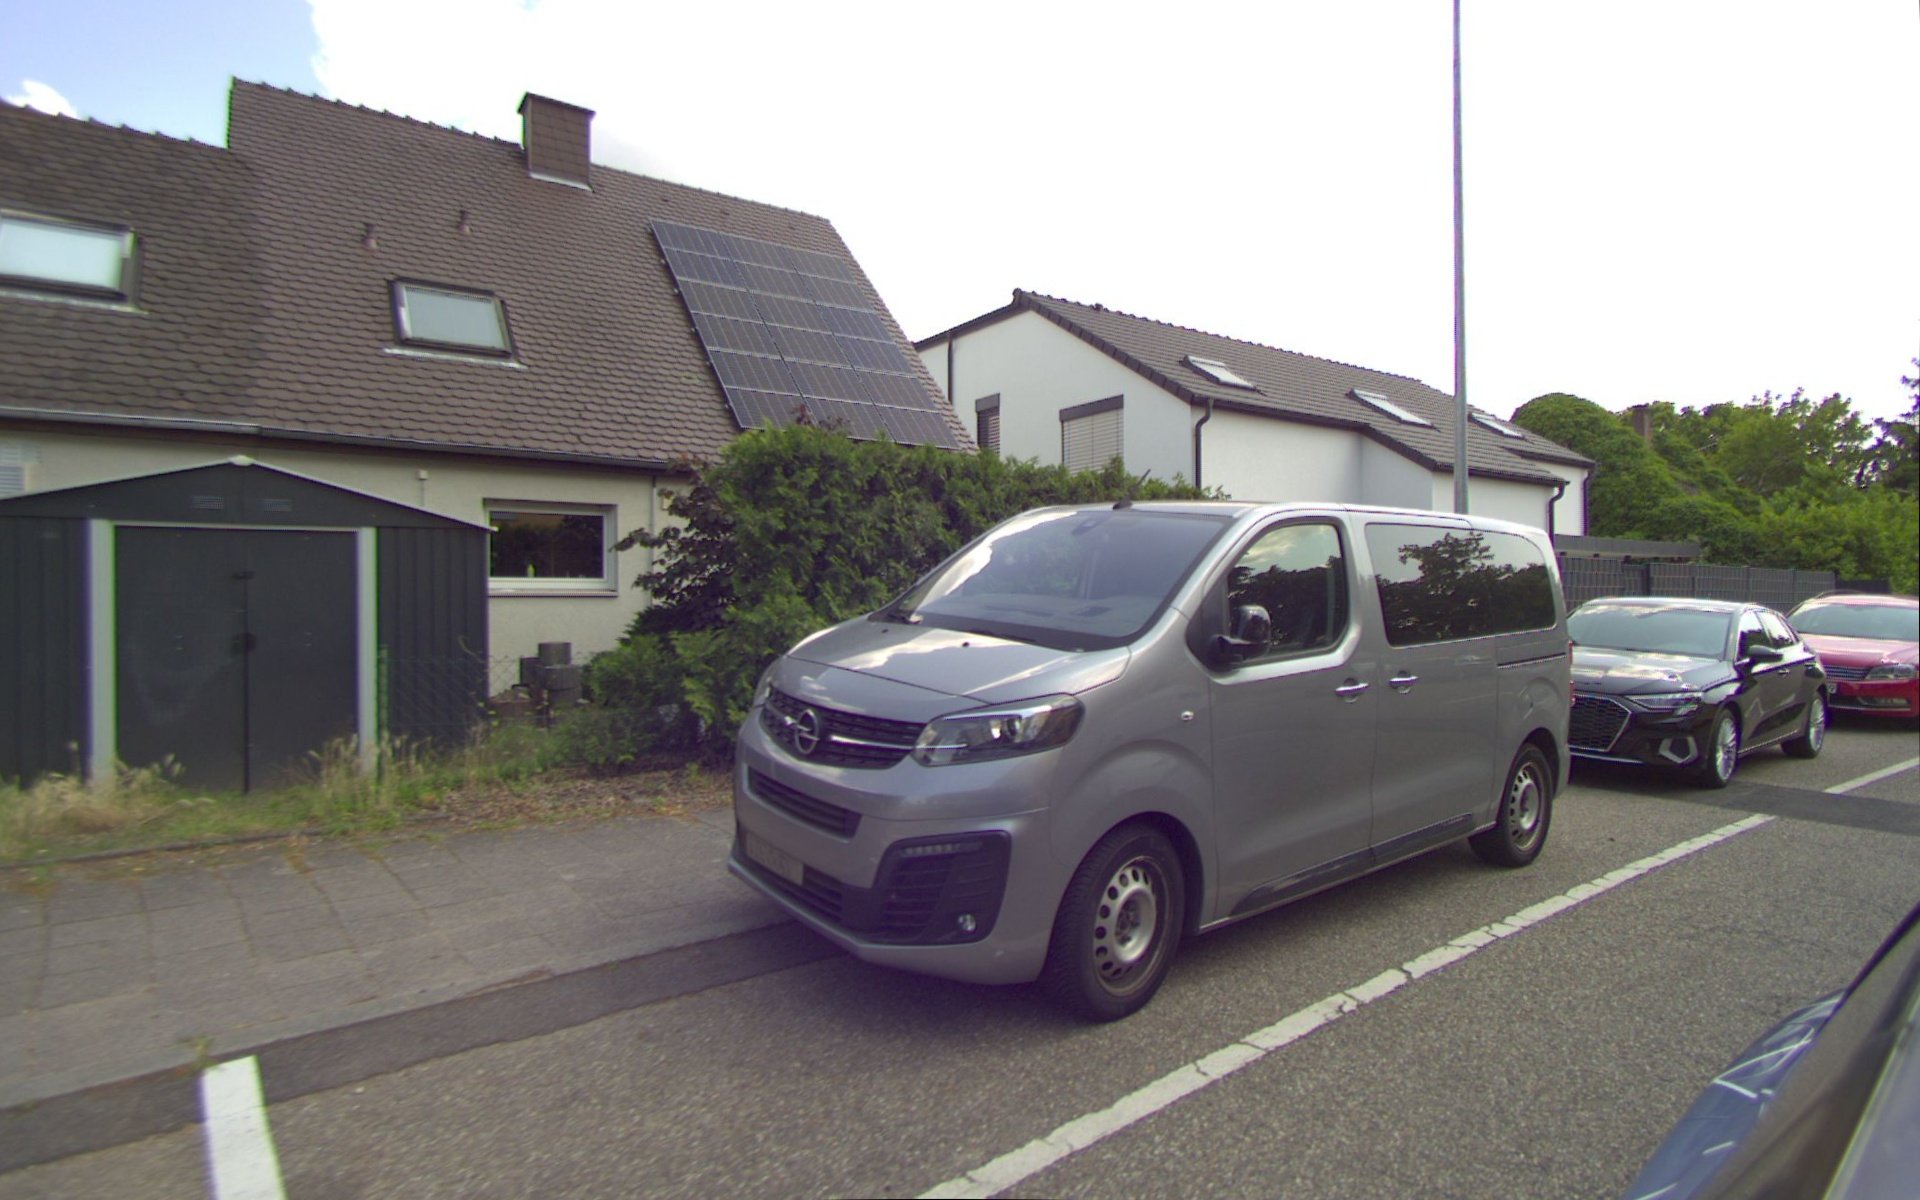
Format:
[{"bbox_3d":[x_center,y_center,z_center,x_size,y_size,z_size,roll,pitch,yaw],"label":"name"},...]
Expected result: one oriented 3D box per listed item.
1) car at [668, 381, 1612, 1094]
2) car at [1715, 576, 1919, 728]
[{"bbox_3d":[1.227,0.342,5.001,4.787,1.968,1.847,0,2,-38],"label":"car"},{"bbox_3d":[11.492,0.541,12.707,4.642,1.599,1.856,0,0,-35],"label":"car"}]
